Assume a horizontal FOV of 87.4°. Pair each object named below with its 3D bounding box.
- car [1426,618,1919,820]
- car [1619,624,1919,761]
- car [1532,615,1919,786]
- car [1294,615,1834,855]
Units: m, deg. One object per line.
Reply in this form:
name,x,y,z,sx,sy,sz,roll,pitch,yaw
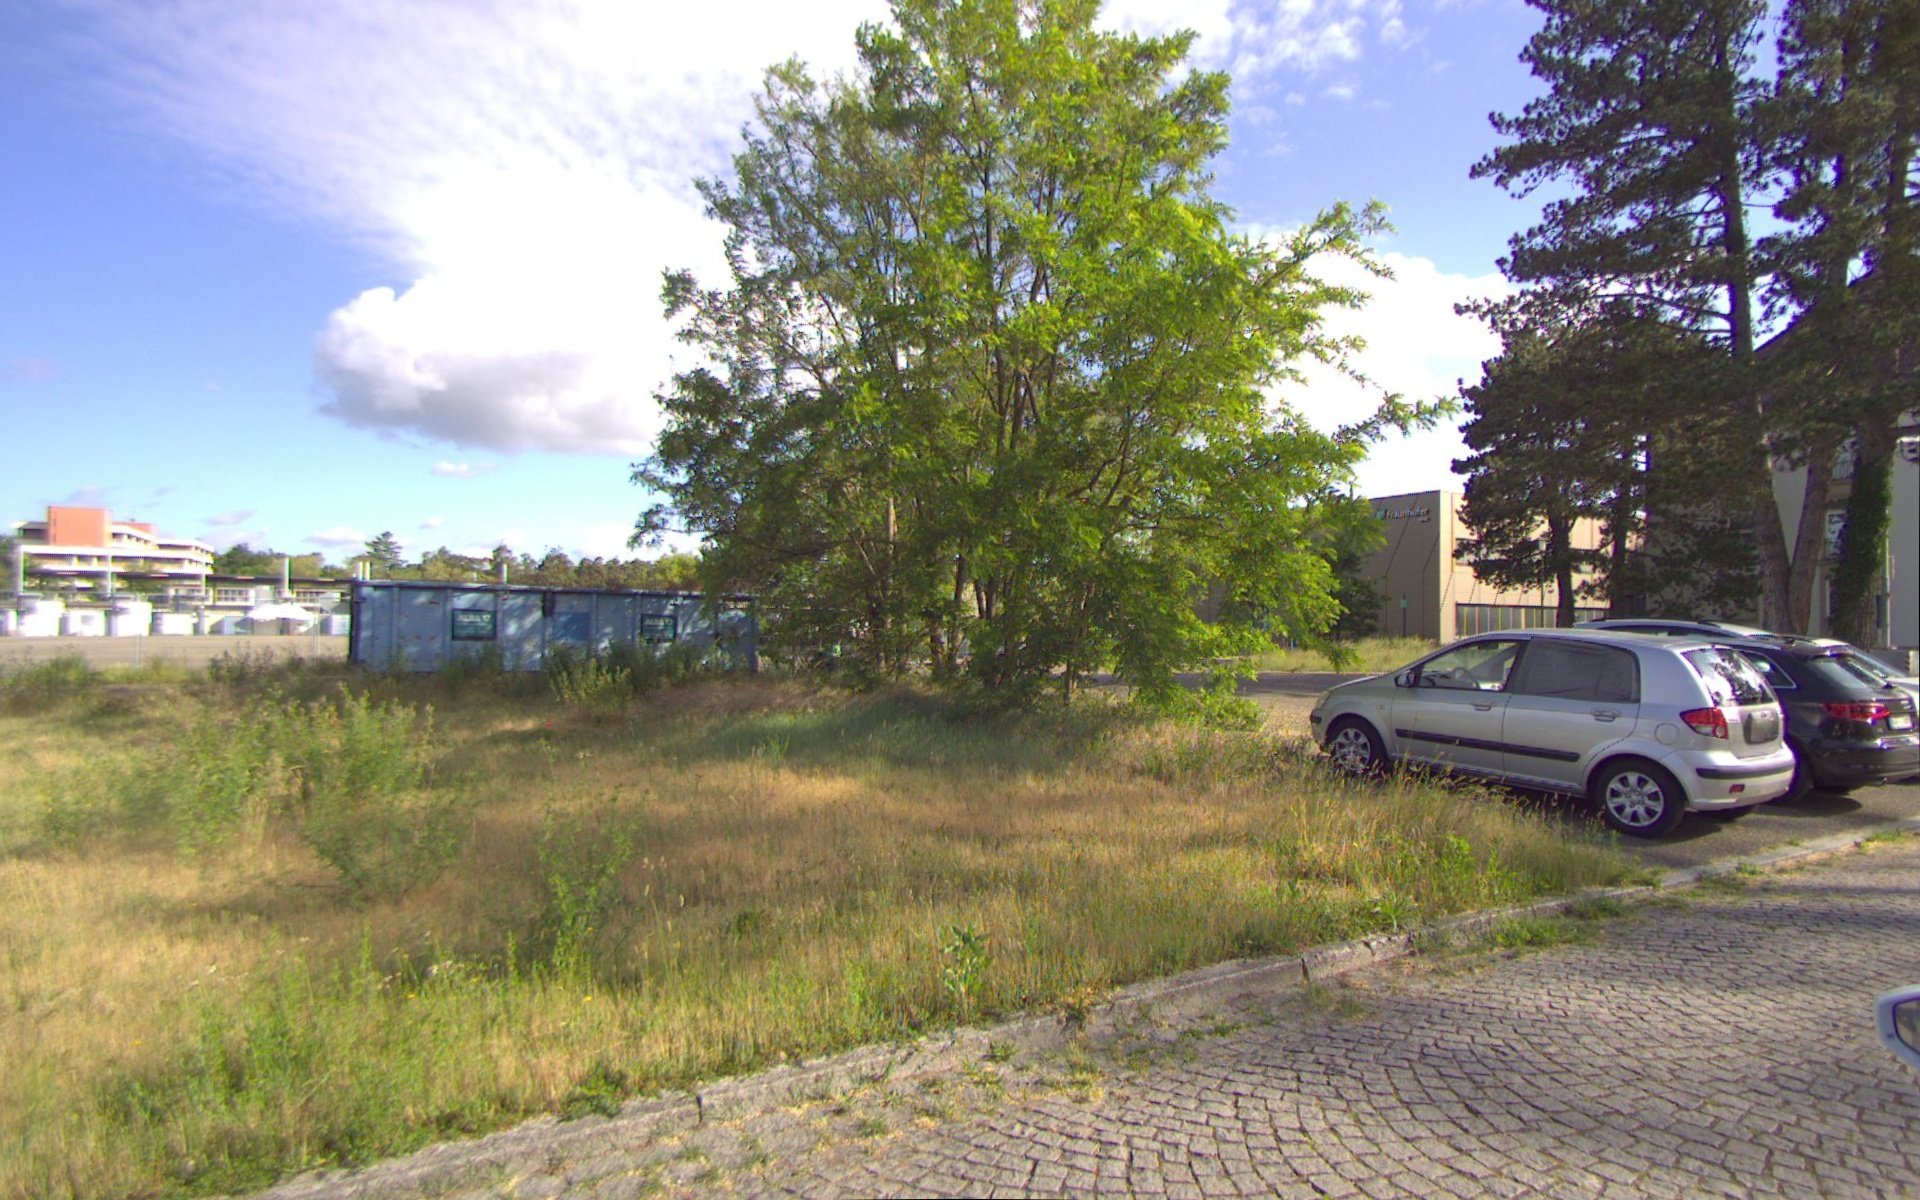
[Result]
car,7.162,1.012,10.328,1.783,1.500,3.964,1,1,-32
car,11.573,1.153,13.373,1.811,1.488,4.308,1,1,-32
car,9.536,1.056,12.244,1.865,1.614,4.057,1,1,-32
car,4.999,0.946,8.825,1.628,1.507,3.725,1,1,-32
